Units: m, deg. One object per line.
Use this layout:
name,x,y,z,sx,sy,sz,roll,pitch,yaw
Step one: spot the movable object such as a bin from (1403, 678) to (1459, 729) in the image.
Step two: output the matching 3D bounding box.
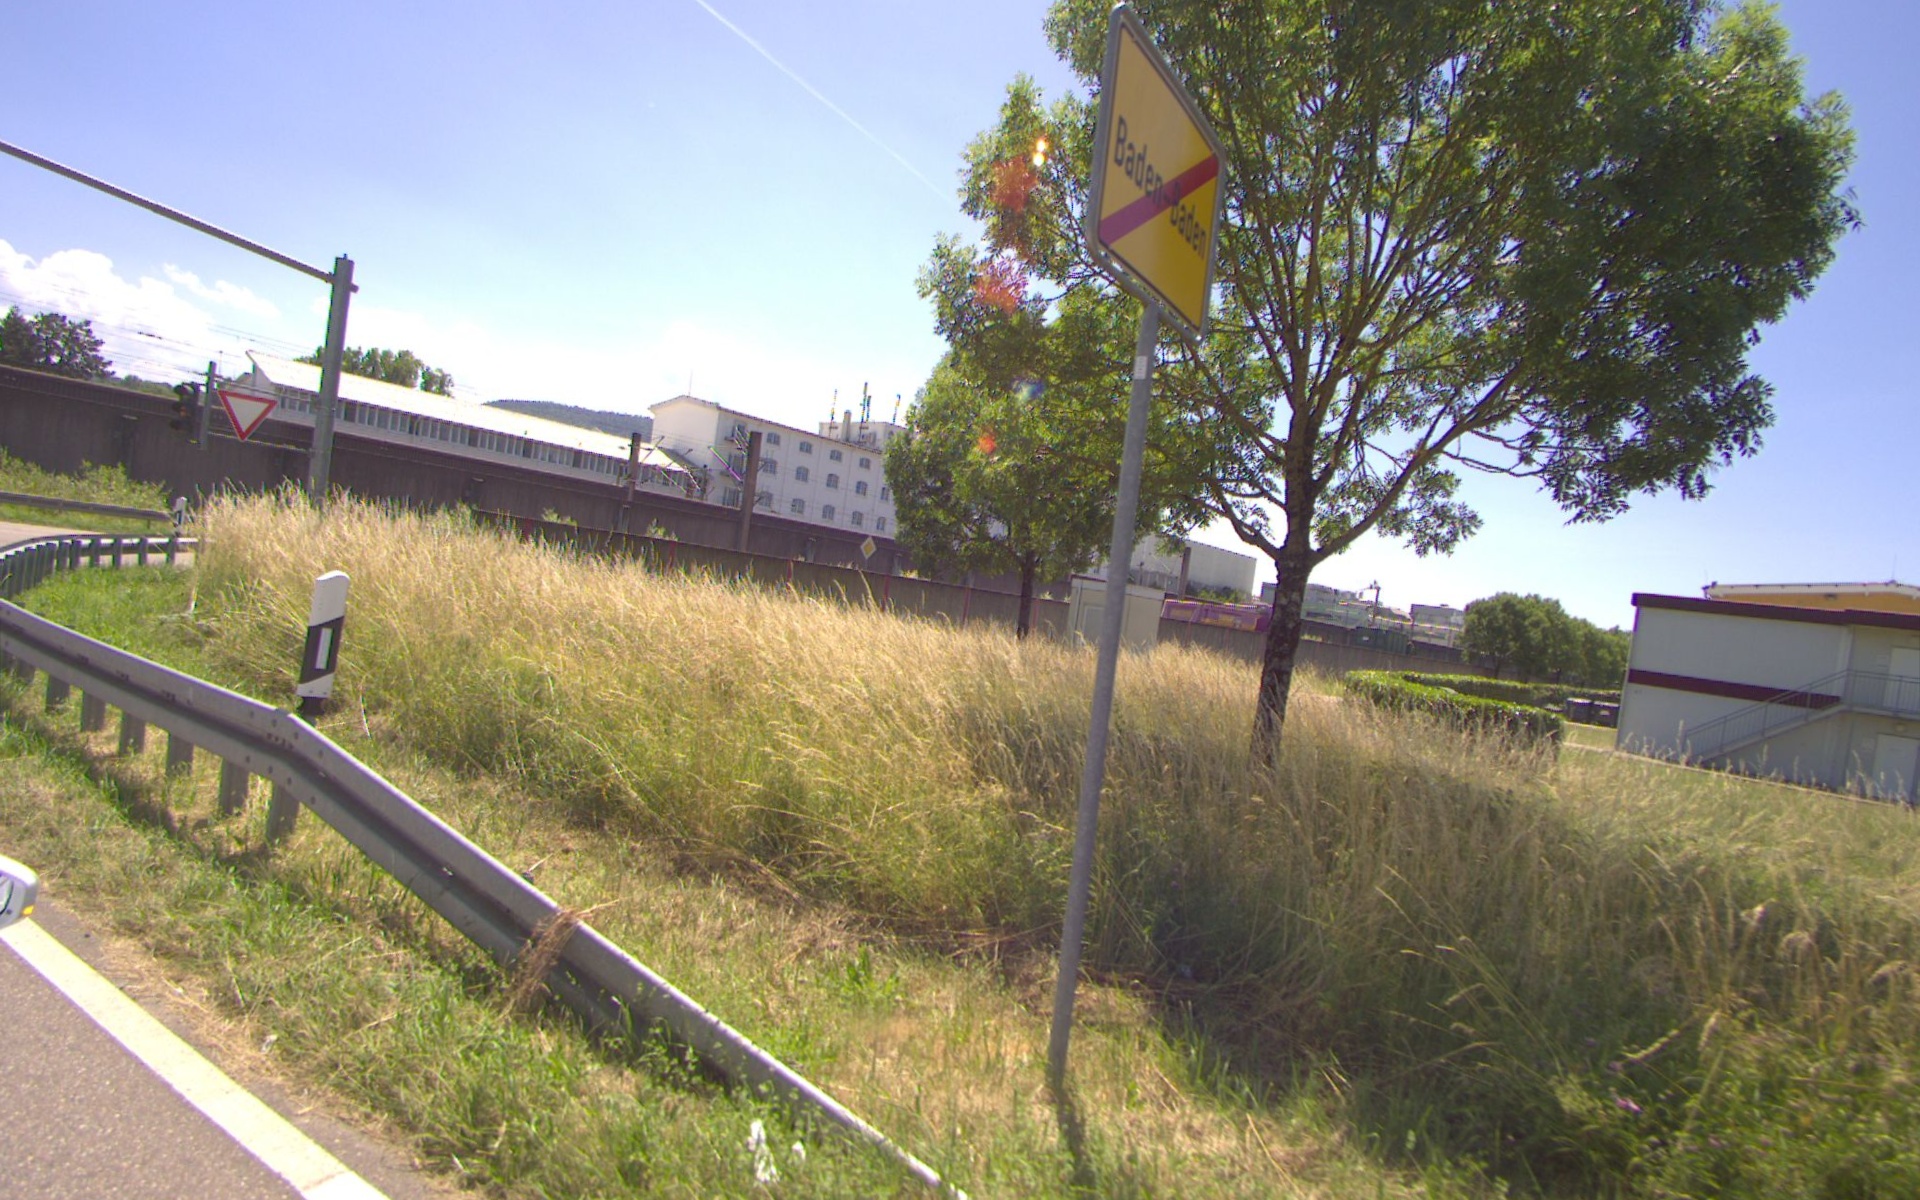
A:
movable object such as a bin,18.533,4.072,39.565,1.540,1.707,1.224,8,0,41

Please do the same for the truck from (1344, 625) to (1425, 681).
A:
truck,36.666,4.645,86.644,2.963,3.764,10.514,8,-1,41

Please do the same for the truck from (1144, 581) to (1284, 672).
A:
truck,15.599,1.767,60.789,2.963,4.230,11.760,8,-1,40
